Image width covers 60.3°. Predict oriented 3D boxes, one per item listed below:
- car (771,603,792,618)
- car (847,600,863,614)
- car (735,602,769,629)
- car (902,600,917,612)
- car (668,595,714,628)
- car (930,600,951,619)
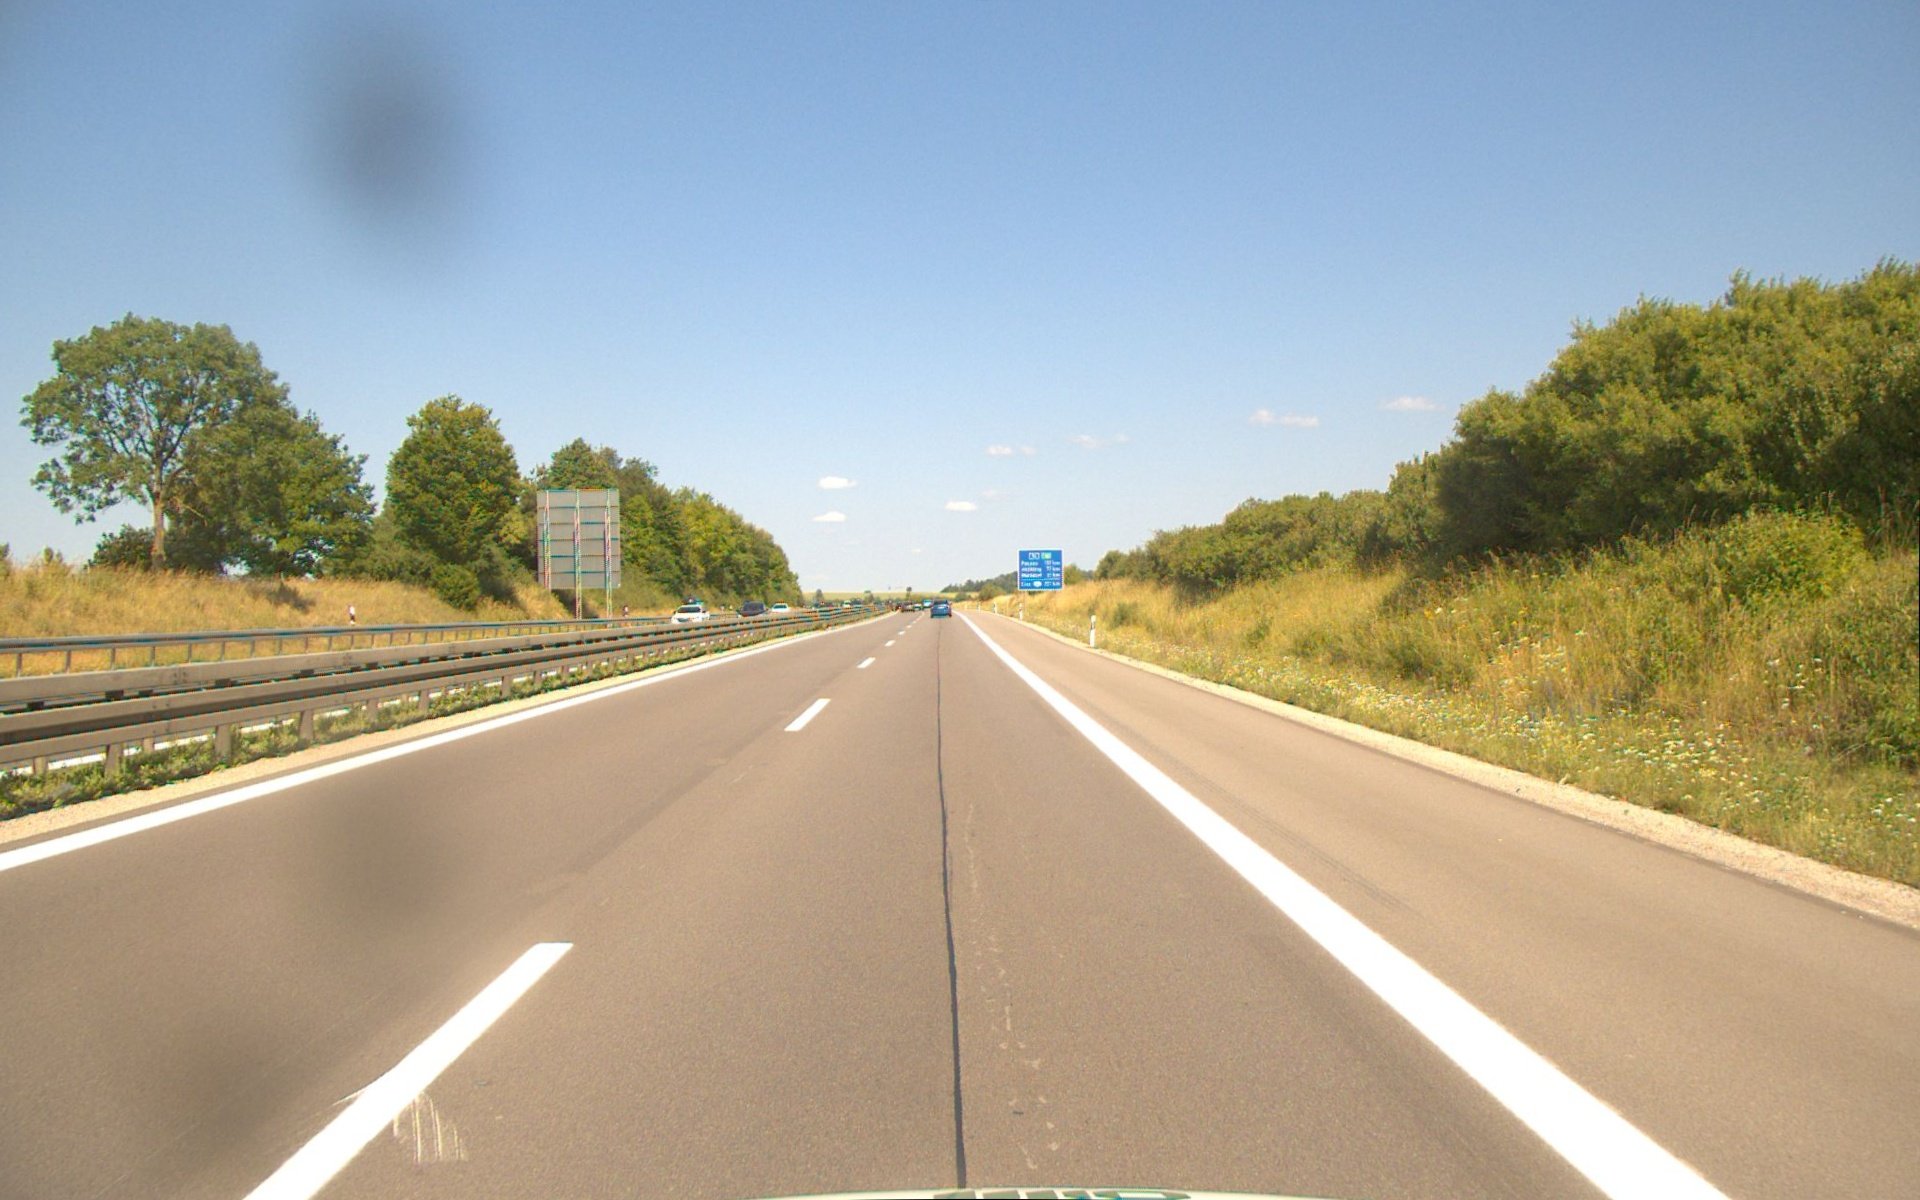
[{"bbox_3d":[-16.873,1.016,156.576,1.491,1.376,4.231,-1,0,-1],"label":"car"},{"bbox_3d":[-15.194,1.017,239.862,1.953,2.007,5.038,-1,0,-1],"label":"car"},{"bbox_3d":[-12.353,0.899,98.409,1.583,1.558,3.999,0,0,-1],"label":"car"},{"bbox_3d":[-6.611,0.753,218.267,1.792,1.478,3.591,-2,0,0],"label":"car"},{"bbox_3d":[-16.000,0.671,98.685,1.905,1.877,5.183,0,0,-1],"label":"car"},{"bbox_3d":[-1.584,0.791,135.763,1.642,1.478,3.592,-2,0,0],"label":"car"}]
